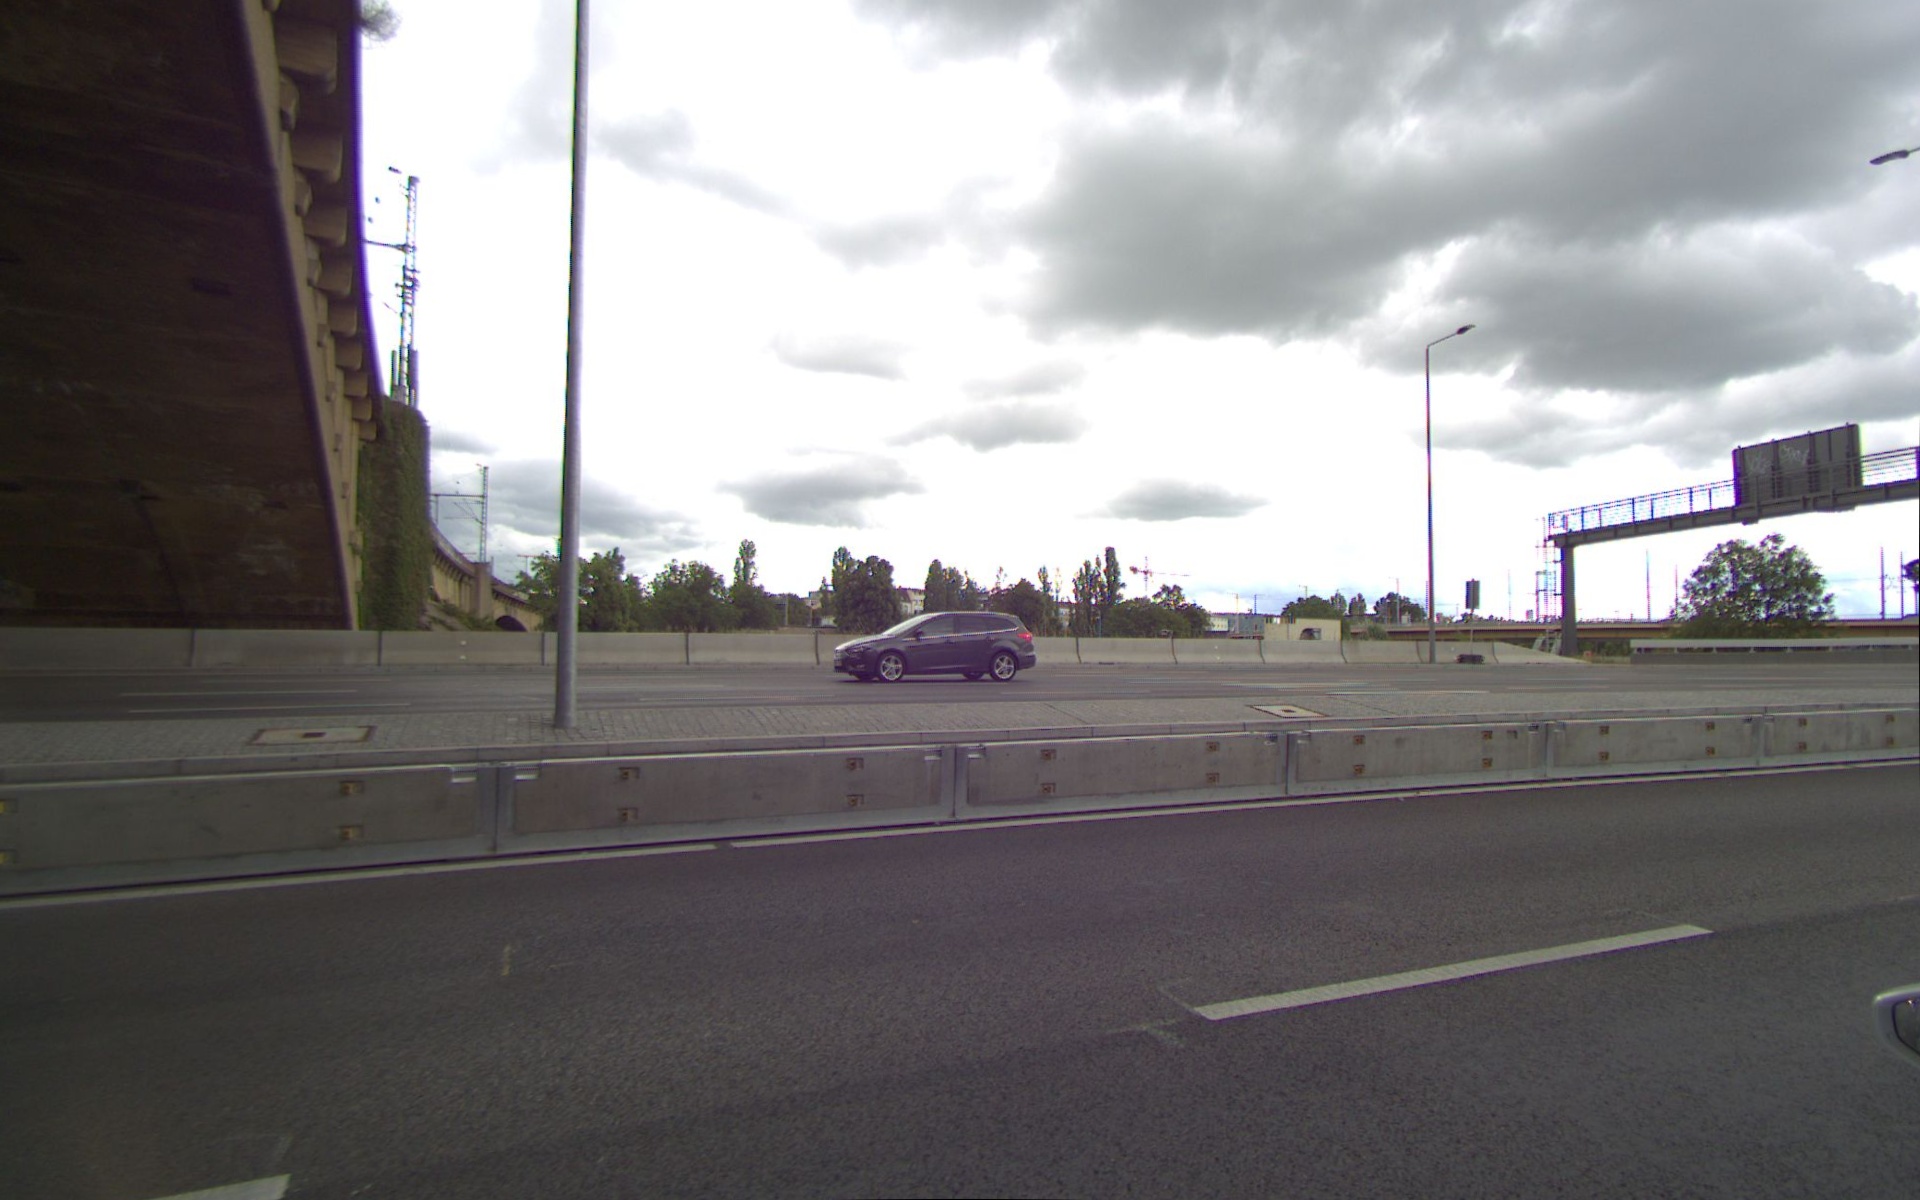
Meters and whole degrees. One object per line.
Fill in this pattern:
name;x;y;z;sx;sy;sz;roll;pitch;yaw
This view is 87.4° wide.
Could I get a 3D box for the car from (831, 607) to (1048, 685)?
car;-0.431;0.975;21.817;4.342;1.557;1.812;1;-1;-26
